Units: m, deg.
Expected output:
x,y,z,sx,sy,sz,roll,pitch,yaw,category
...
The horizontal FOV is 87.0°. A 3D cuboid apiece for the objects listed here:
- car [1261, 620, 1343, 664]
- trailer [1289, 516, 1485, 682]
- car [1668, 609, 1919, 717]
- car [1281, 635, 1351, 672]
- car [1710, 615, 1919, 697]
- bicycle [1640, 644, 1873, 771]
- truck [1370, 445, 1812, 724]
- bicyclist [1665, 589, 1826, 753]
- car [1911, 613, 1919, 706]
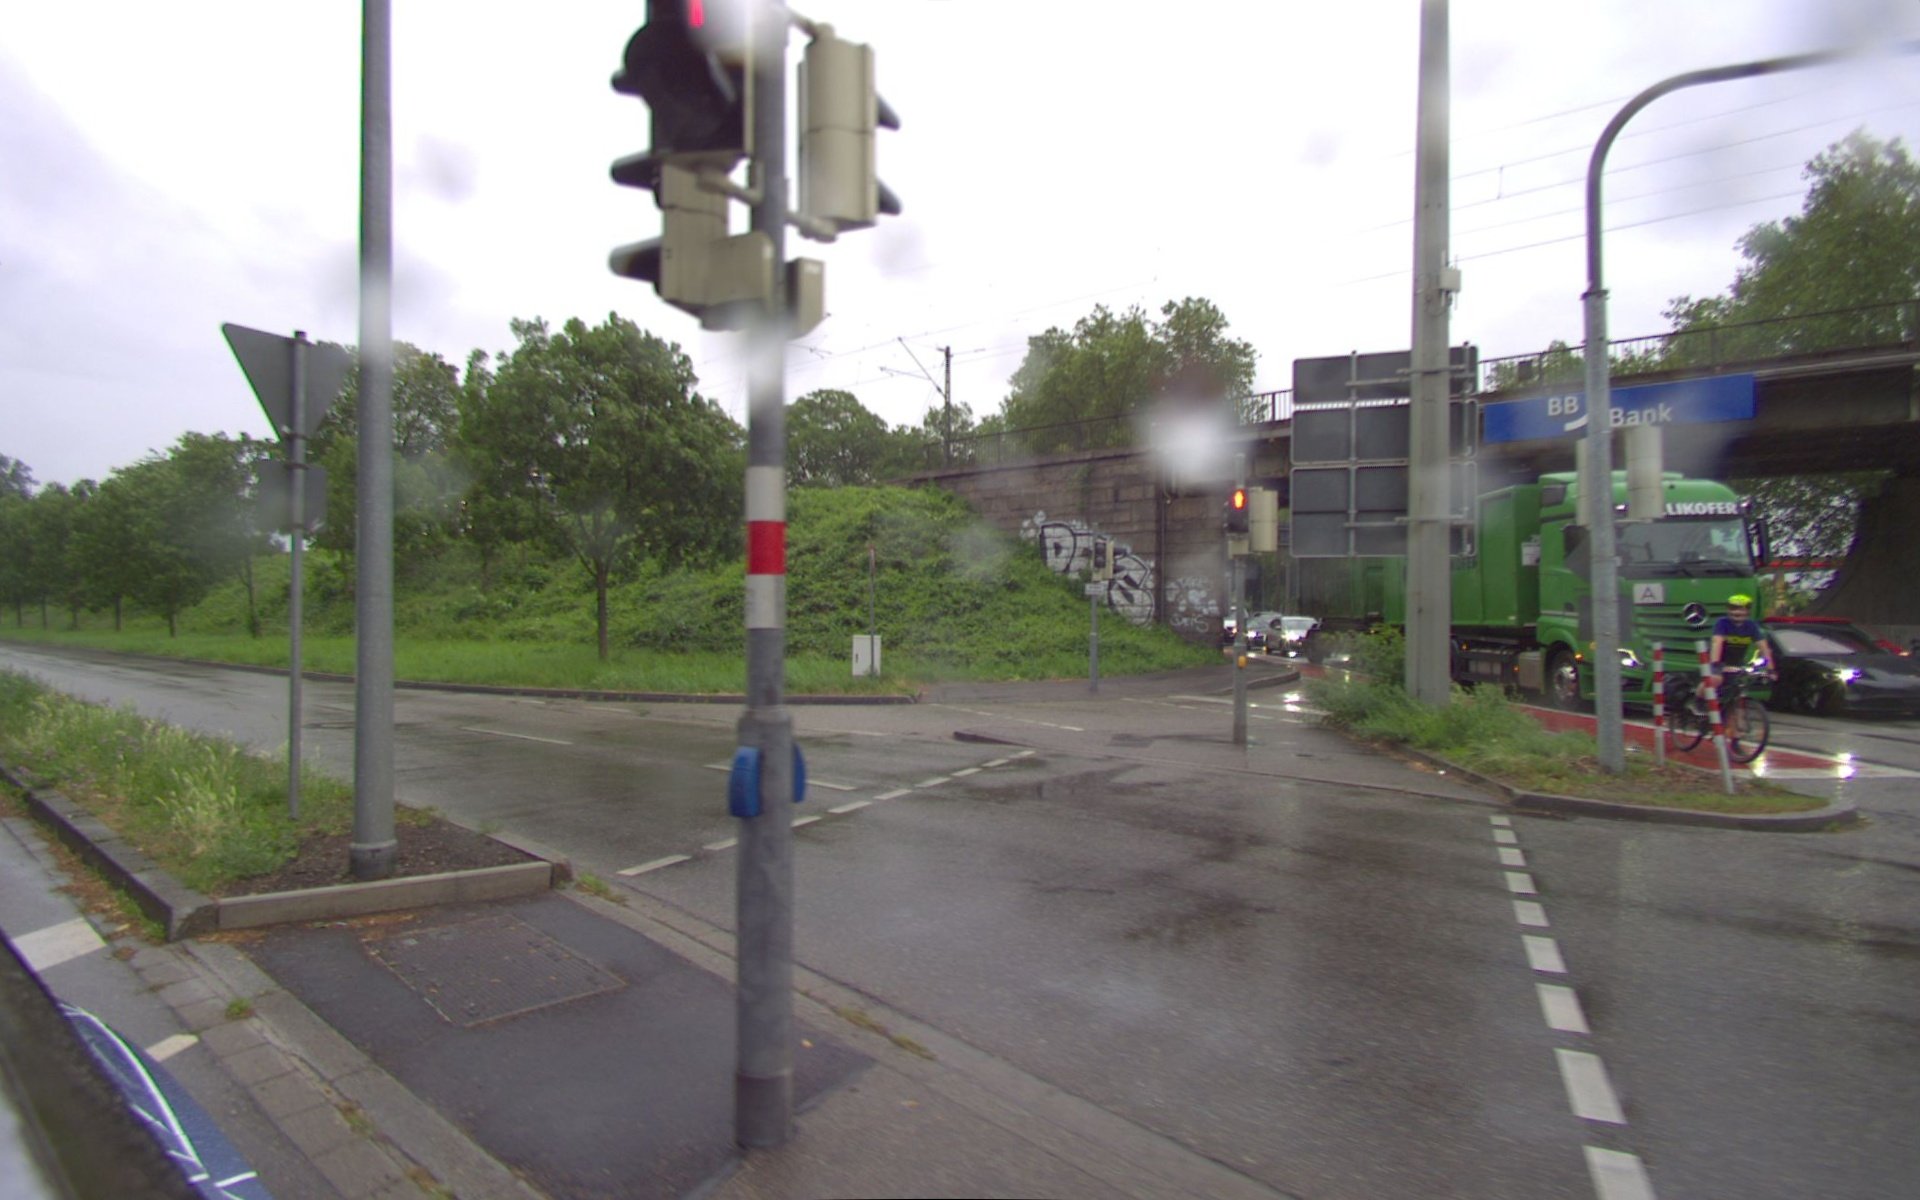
x,y,z,sx,sy,sz,roll,pitch,yaw,category
12.917,1.567,38.475,1.974,1.586,3.995,0,-2,4,car
11.777,0.041,28.929,2.655,4.017,8.506,0,-1,5,trailer
13.726,0.935,16.317,1.725,1.497,4.675,0,-2,6,car
16.256,2.425,46.437,1.974,1.586,3.995,0,-2,4,car
17.351,1.062,20.255,1.797,1.463,3.996,0,-1,3,car
8.145,1.047,10.479,0.683,1.103,1.917,-1,0,-10,bicycle
11.080,-0.121,19.607,2.653,3.979,10.183,0,-1,3,truck
8.134,0.695,10.527,0.792,1.605,1.049,0,0,-11,bicyclist
16.867,0.959,15.080,1.637,1.558,3.998,0,-1,1,car
